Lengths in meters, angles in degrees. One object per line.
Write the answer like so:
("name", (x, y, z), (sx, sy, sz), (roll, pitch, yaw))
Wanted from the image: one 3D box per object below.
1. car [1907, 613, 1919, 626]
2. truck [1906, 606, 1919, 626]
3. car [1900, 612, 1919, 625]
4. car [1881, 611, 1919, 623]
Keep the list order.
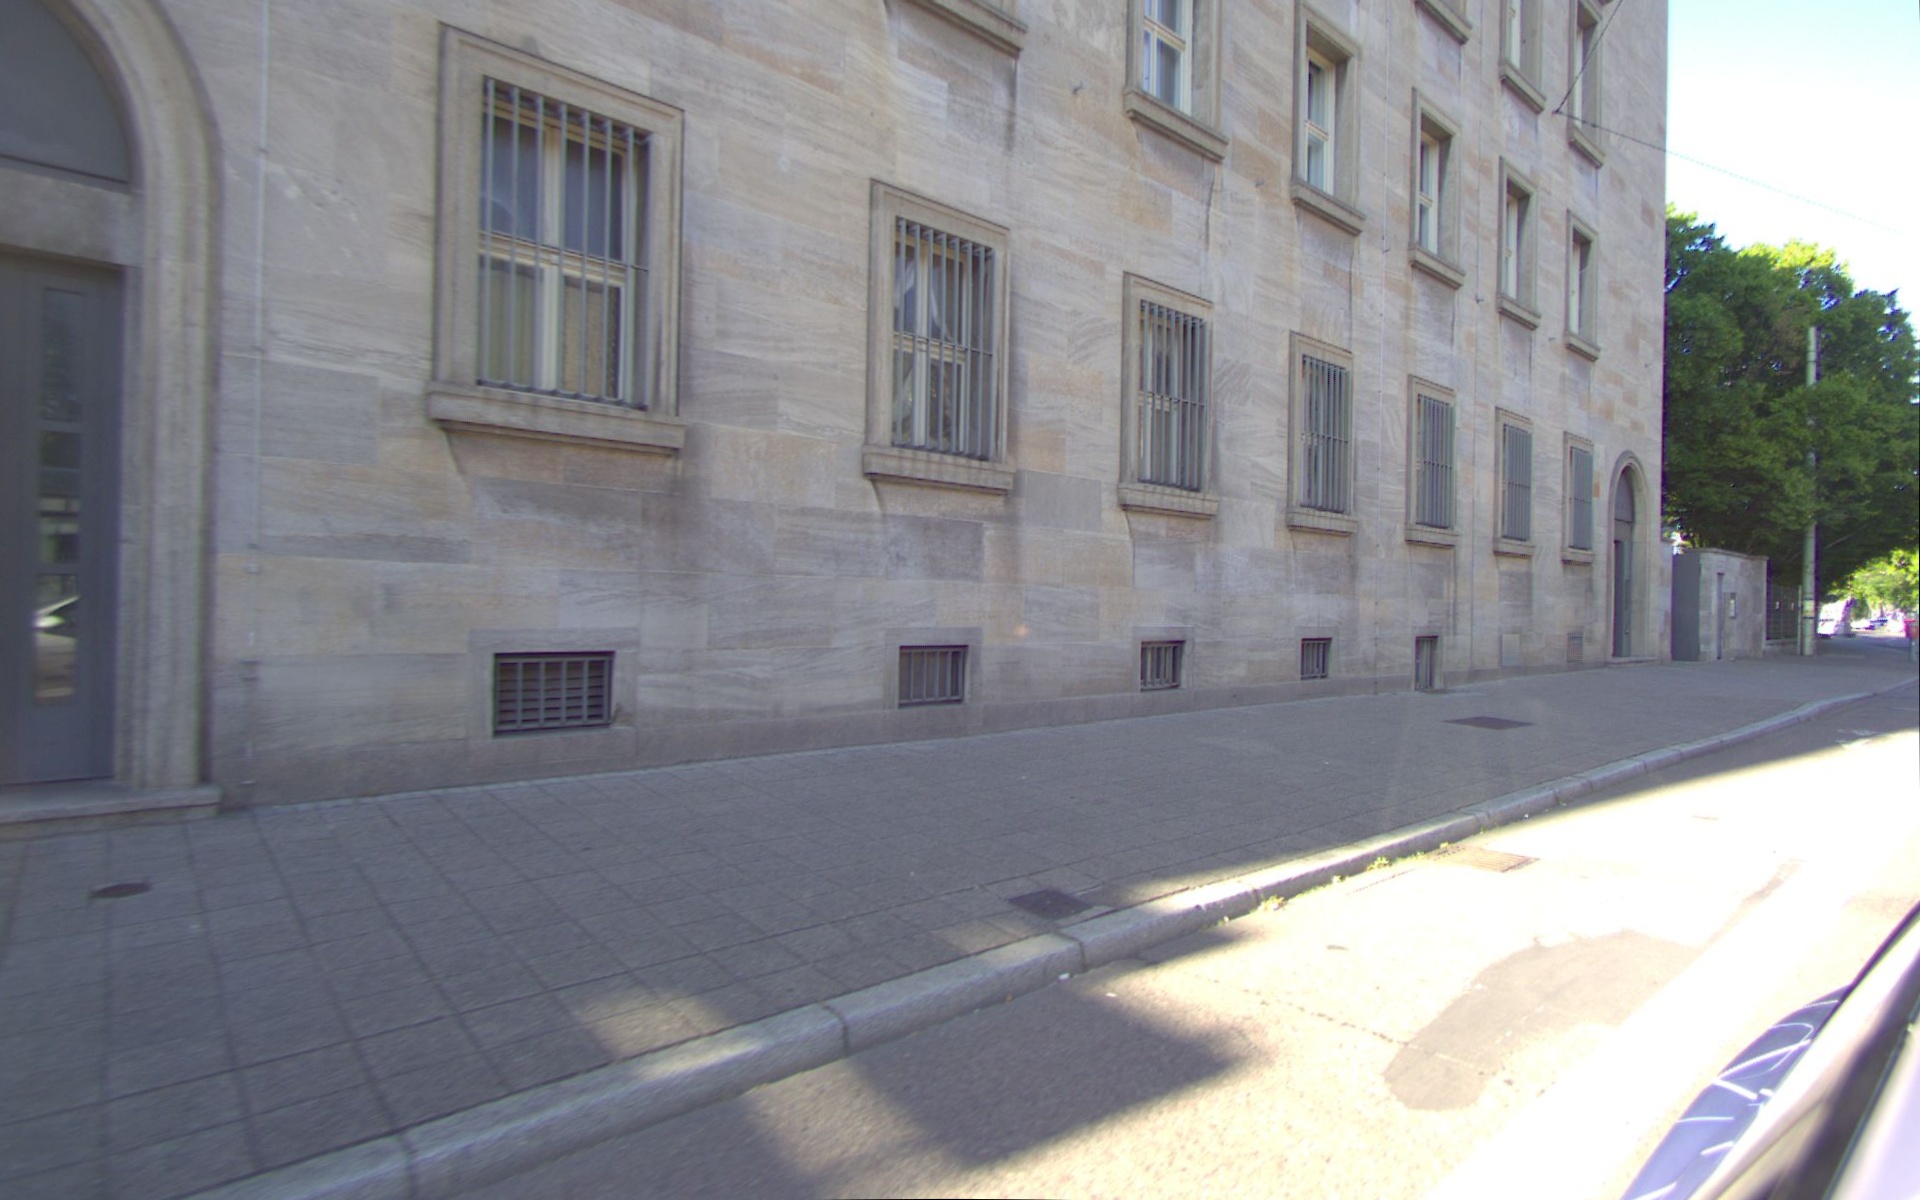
("car", (122.729, 2.438, 128.136), (3.742, 1.614, 1.654), (-2, -2, 31))
("truck", (120.764, 1.936, 126.215), (3.749, 2.455, 1.651), (-3, -2, 36))
("car", (124.848, 2.422, 131.357), (3.742, 1.614, 1.654), (-2, -2, 31))
("car", (134.307, 2.402, 144.464), (3.742, 1.614, 1.654), (-2, -2, 31))
